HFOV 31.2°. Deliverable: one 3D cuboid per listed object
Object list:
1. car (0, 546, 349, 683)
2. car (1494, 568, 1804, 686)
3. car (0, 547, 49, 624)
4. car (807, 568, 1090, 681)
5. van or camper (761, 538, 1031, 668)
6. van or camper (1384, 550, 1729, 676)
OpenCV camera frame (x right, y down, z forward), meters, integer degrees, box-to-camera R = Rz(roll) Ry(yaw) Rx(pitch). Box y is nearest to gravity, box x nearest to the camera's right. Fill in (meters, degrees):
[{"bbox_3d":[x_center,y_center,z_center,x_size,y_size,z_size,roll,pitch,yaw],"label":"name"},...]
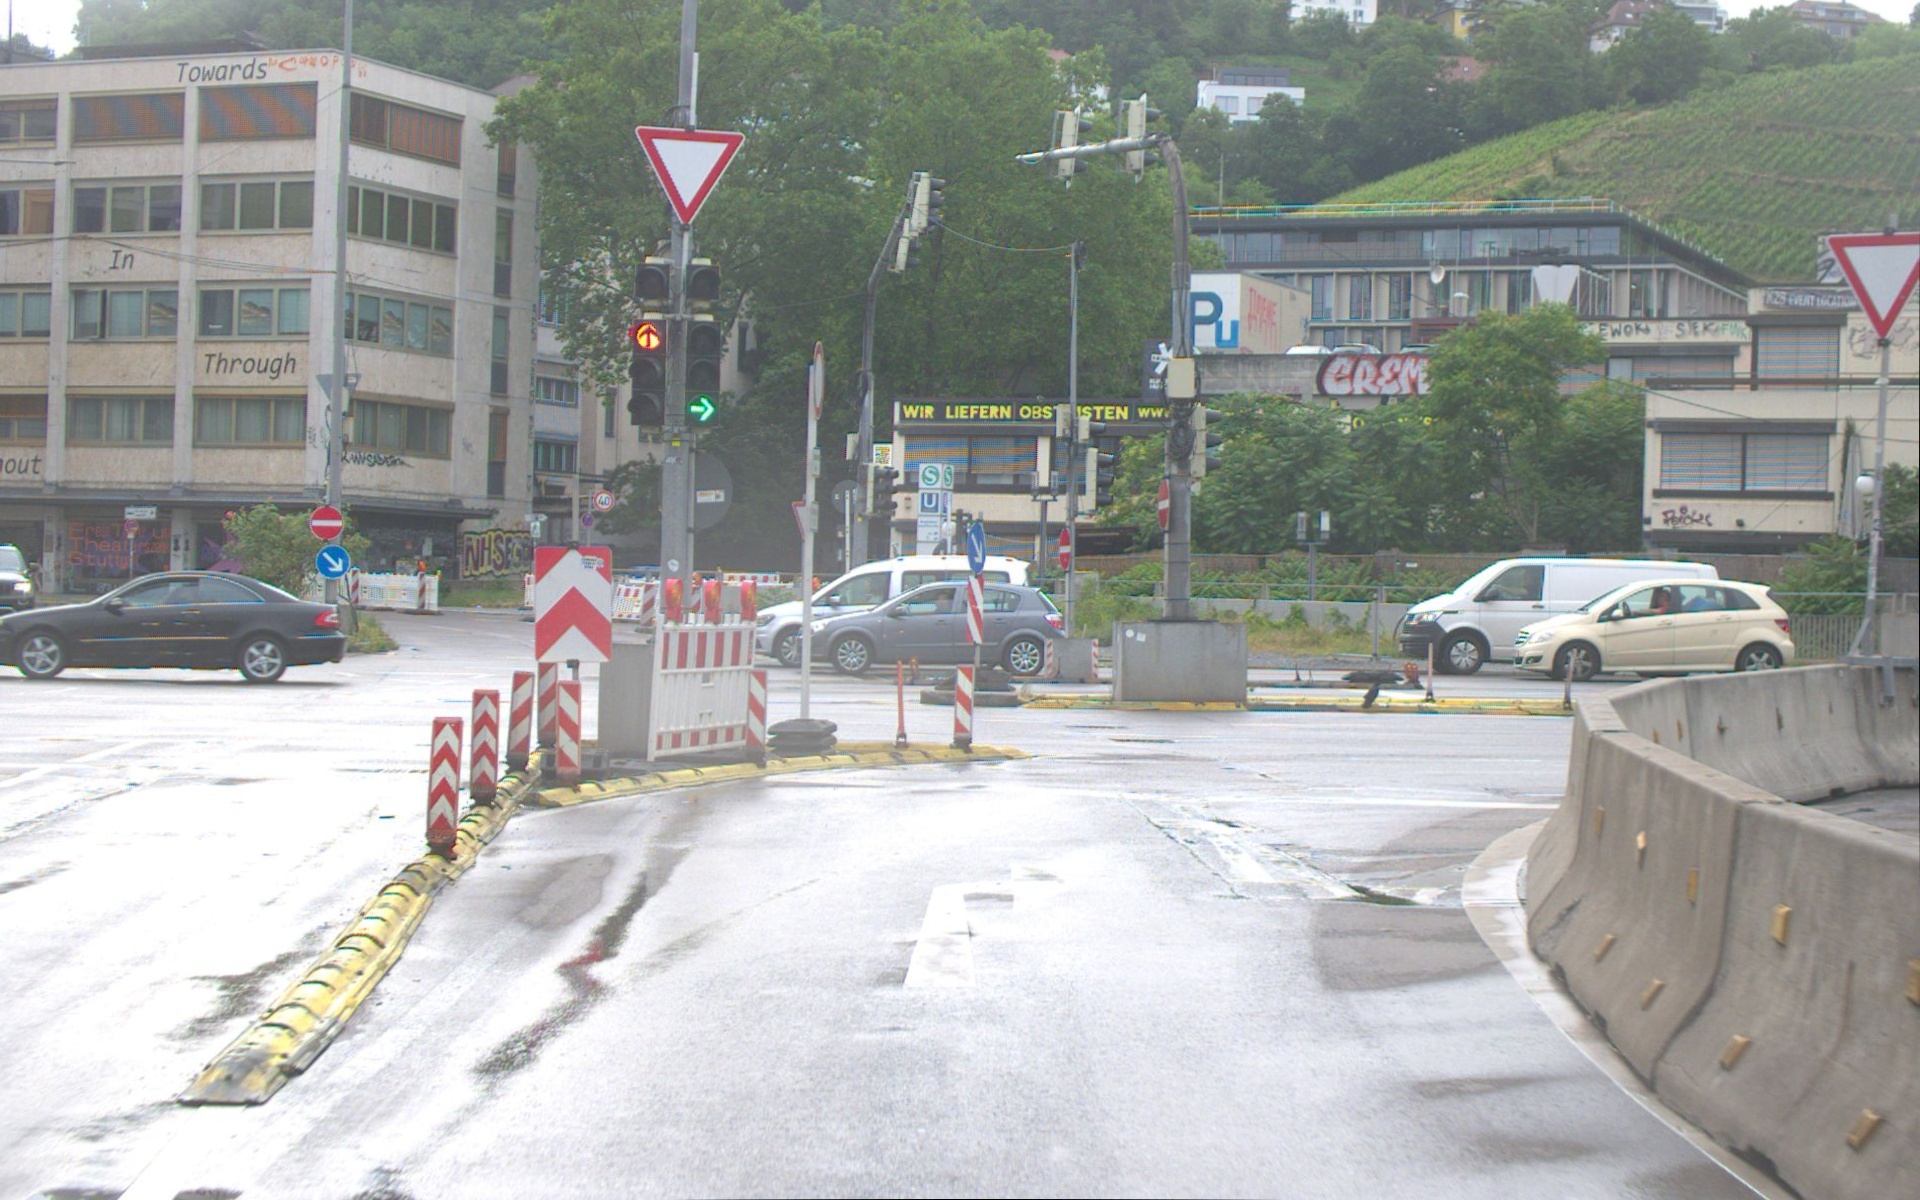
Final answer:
[{"bbox_3d":[-10.125,0.169,43.591,4.647,1.593,2.019,1,1,-10],"label":"car"},{"bbox_3d":[10.585,0.405,53.025,4.366,1.668,1.848,1,1,1],"label":"car"},{"bbox_3d":[-19.381,-0.322,69.060,1.830,1.481,4.001,1,1,-12],"label":"car"},{"bbox_3d":[-0.214,0.365,52.681,4.166,1.593,1.851,1,1,-5],"label":"car"},{"bbox_3d":[-1.079,0.035,55.965,4.241,1.972,1.851,1,1,-5],"label":"van or camper"},{"bbox_3d":[9.691,0.200,56.109,5.194,1.887,1.888,1,1,-4],"label":"van or camper"}]
